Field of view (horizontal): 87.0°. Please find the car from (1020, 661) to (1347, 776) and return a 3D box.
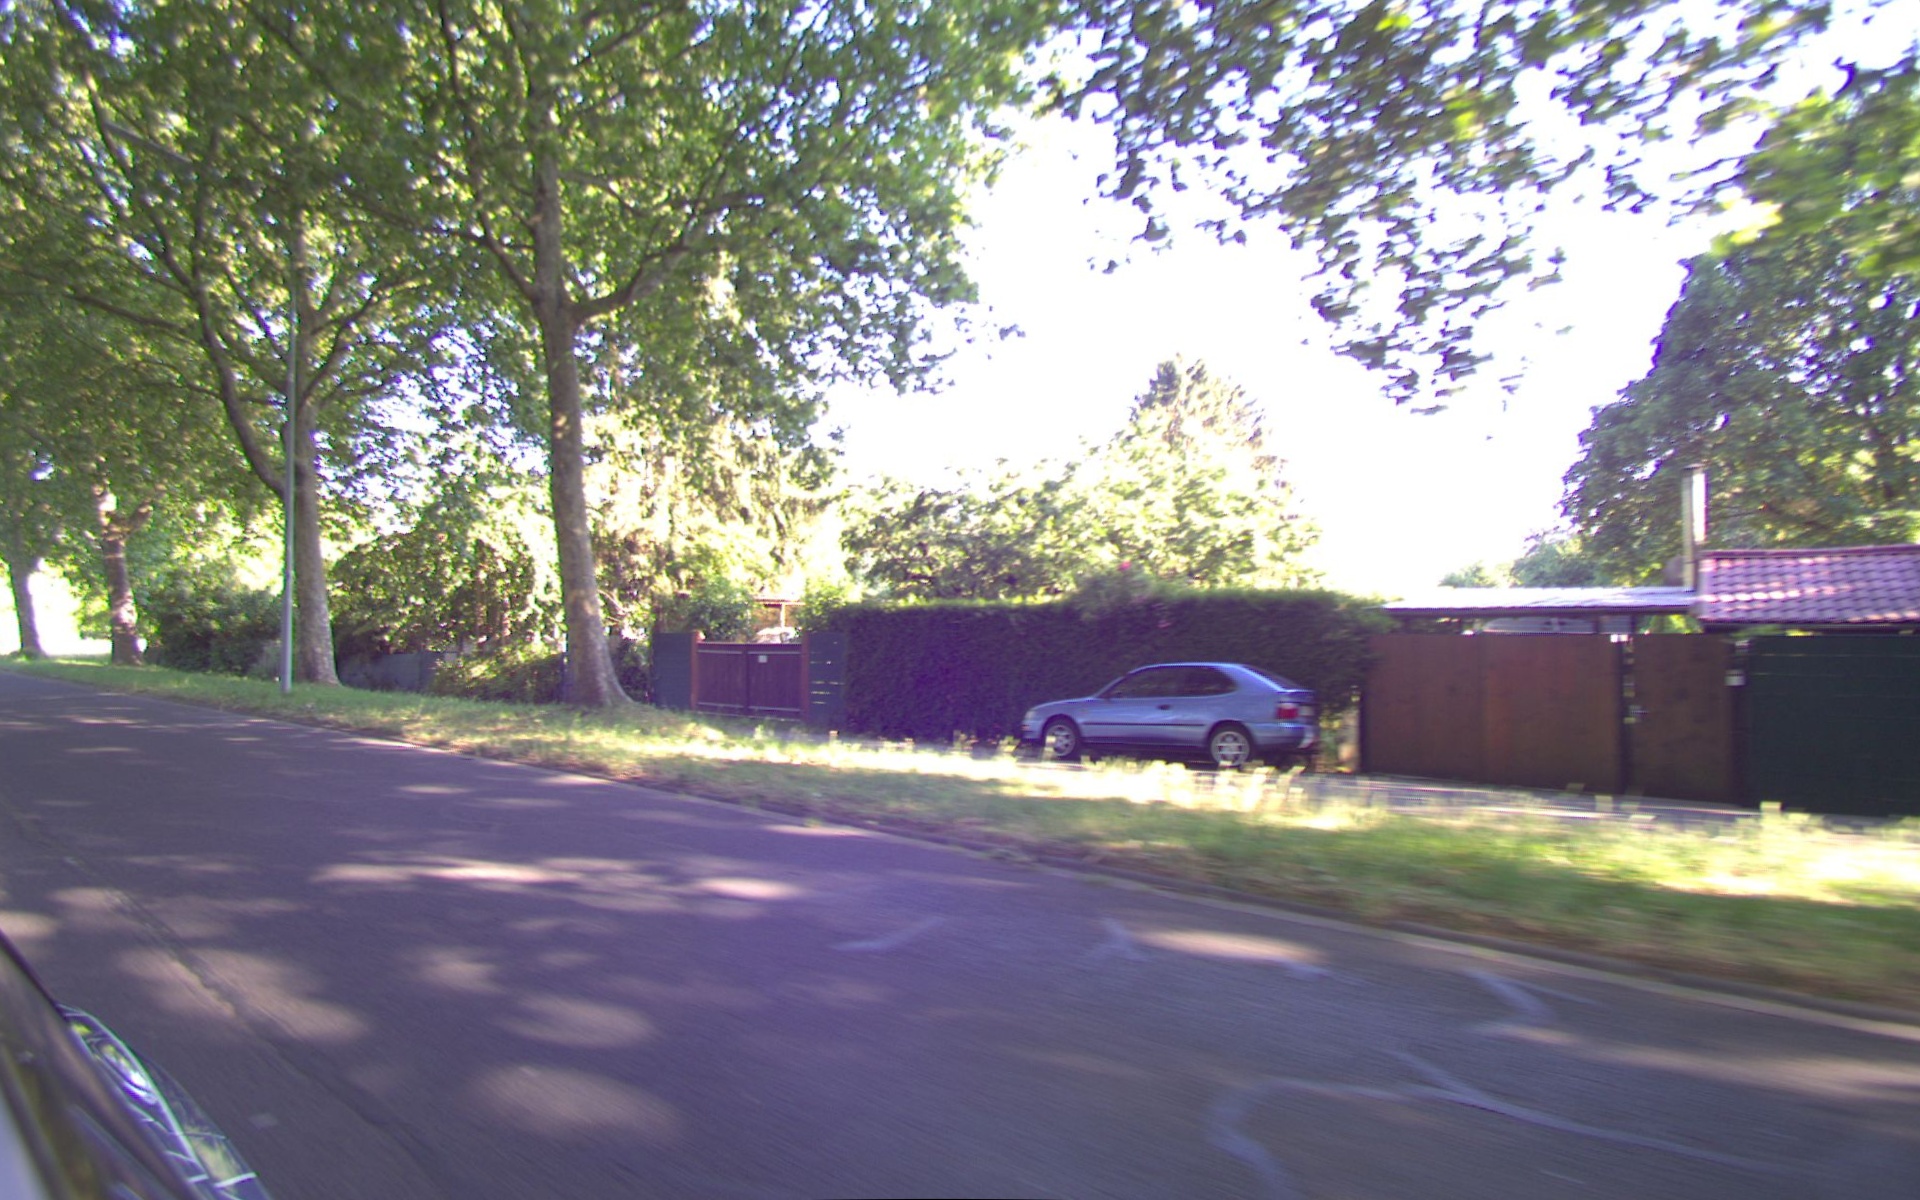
[{"bbox_3d":[2.962,1.506,13.813,3.993,1.314,1.735,-3,-3,37],"label":"car"}]
